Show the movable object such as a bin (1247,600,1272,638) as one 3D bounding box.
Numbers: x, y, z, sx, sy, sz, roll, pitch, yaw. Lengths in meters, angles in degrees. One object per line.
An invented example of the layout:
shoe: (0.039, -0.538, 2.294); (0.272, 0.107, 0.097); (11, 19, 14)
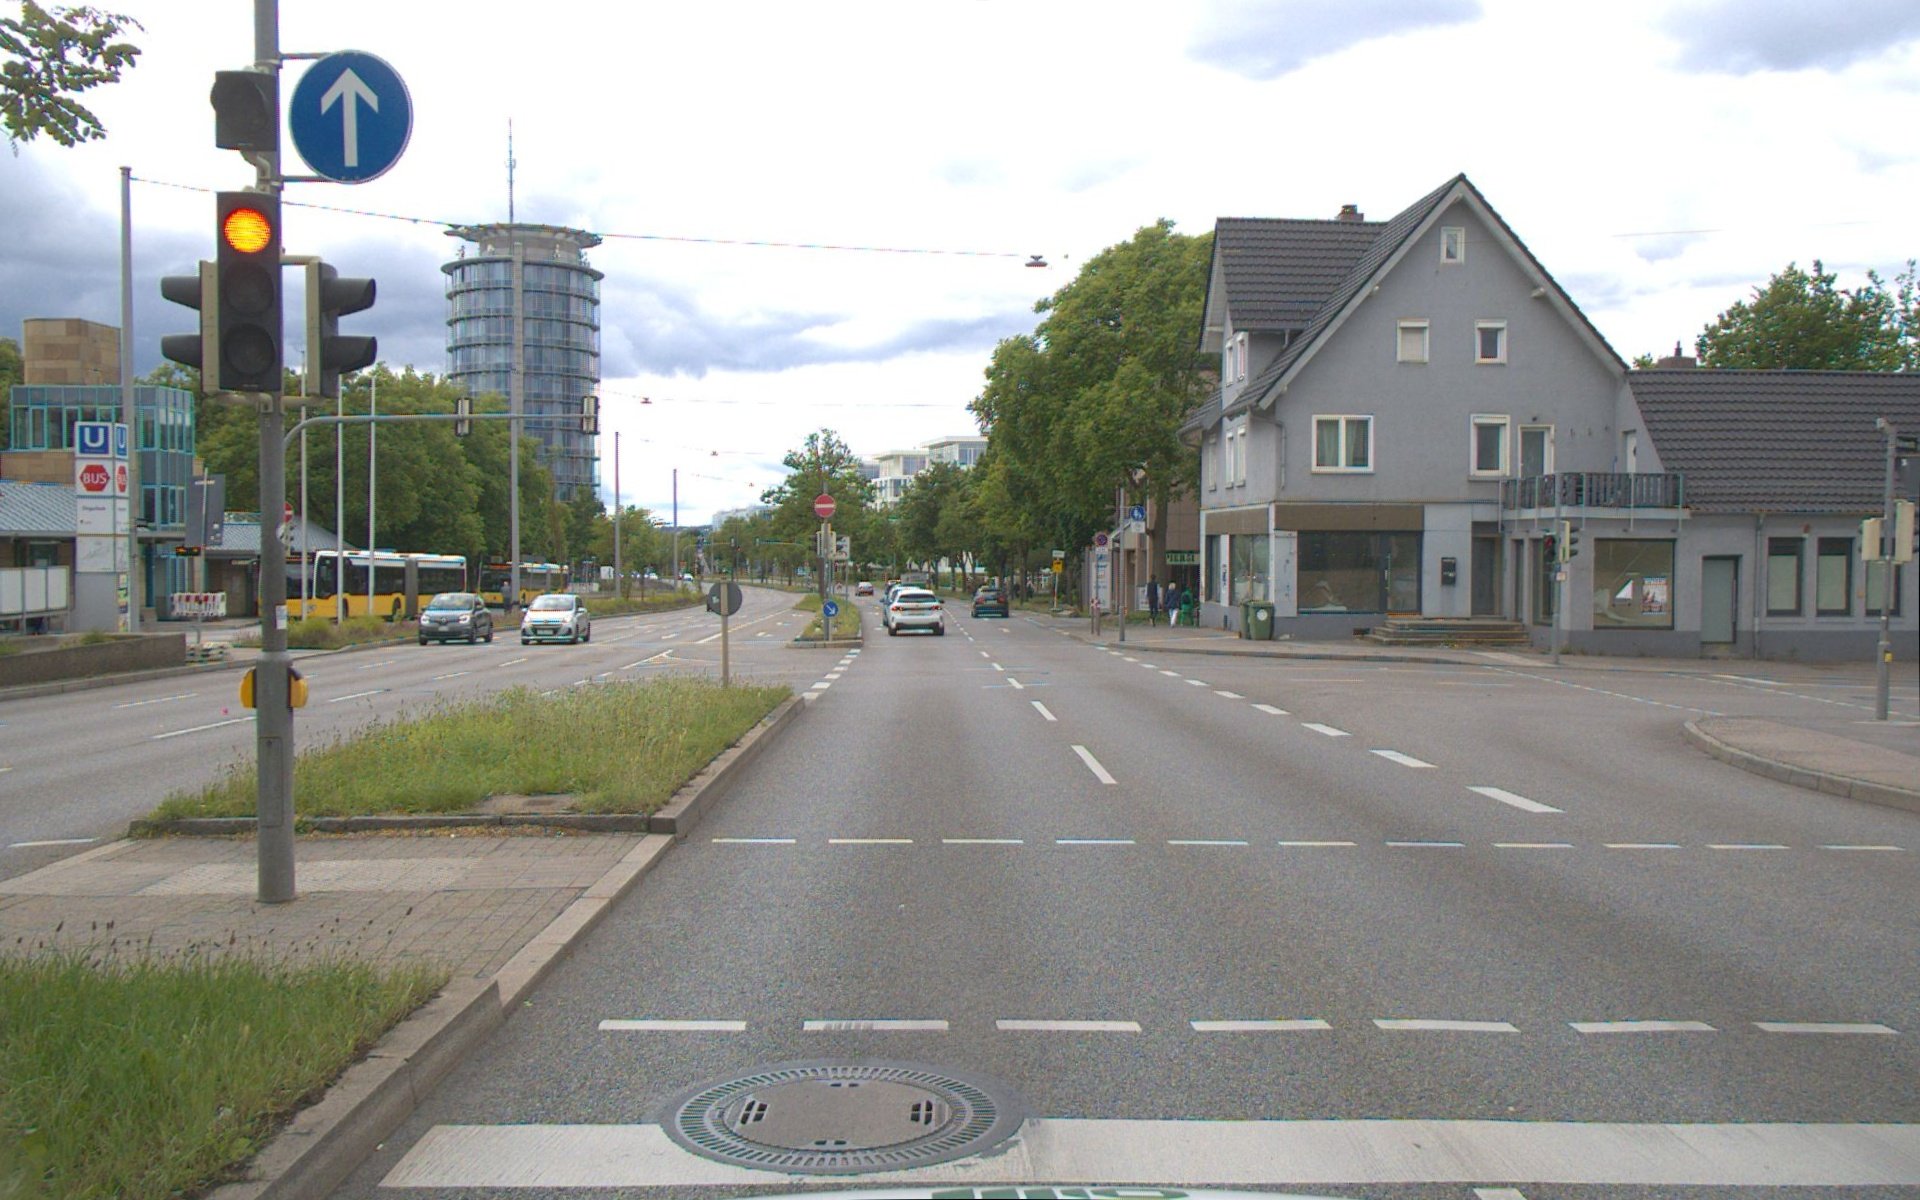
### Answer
movable object such as a bin: (7.998, 0.495, 44.158); (0.518, 0.997, 0.736); (0, 0, -1)

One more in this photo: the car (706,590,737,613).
car: (-16.076, 0.066, 111.657); (1.668, 1.518, 3.561); (-1, 0, -2)

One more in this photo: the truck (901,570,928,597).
truck: (-4.344, -1.544, 156.422); (2.207, 2.459, 4.927); (0, 0, -5)

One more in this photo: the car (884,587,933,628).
car: (-2.024, 0.296, 66.018); (1.785, 1.567, 4.114); (0, 0, 1)

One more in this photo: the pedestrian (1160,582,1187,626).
pedestrian: (7.423, 0.137, 57.439); (0.691, 1.533, 0.870); (-1, 0, 24)

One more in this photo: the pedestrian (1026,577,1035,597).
pedestrian: (5.617, -1.020, 131.760); (0.638, 1.597, 0.669); (0, 0, -9)

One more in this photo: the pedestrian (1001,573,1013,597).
pedestrian: (4.023, -1.321, 142.655); (0.951, 2.049, 0.981); (1, -1, -2)

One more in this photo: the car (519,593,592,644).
car: (-12.364, 0.548, 50.722); (1.651, 1.488, 3.552); (0, 0, -5)

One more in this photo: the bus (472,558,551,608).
bus: (-30.782, -1.123, 114.009); (3.082, 3.281, 10.279); (0, 0, -3)

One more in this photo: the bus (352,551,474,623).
bus: (-26.544, -0.616, 80.715); (2.927, 3.327, 7.879); (-1, 0, 3)

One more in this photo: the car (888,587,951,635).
car: (-1.301, 0.339, 54.457); (1.953, 1.503, 4.256); (0, 0, 0)

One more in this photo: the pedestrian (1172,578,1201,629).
pedestrian: (8.212, 0.120, 59.994); (0.853, 1.811, 0.704); (0, 0, -16)

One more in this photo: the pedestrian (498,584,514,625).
pedestrian: (-21.963, 0.214, 79.962); (0.649, 1.930, 0.684); (0, 0, -9)

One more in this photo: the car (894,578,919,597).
car: (-5.398, -1.252, 164.999); (2.207, 1.787, 4.927); (0, 0, -5)

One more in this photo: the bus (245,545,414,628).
bus: (-27.081, -0.563, 71.690); (2.927, 3.307, 10.174); (-1, 0, 3)

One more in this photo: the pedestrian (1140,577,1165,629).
pedestrian: (6.775, 0.095, 58.098); (0.690, 1.811, 0.870); (-1, 0, 19)

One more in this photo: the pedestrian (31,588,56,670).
pedestrian: (-18.354, 0.581, 33.117); (0.414, 1.619, 0.353); (0, 0, -30)

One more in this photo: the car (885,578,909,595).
car: (-6.598, -1.400, 173.777); (2.207, 1.676, 4.927); (0, 0, -6)

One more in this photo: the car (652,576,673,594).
car: (-35.902, -1.841, 199.739); (1.925, 2.049, 3.999); (1, 0, -1)

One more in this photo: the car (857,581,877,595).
car: (-9.716, -1.270, 173.020); (1.929, 1.444, 4.017); (0, 0, -6)

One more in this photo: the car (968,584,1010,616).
car: (1.396, 0.027, 81.374); (1.851, 1.521, 4.097); (-1, -1, -2)

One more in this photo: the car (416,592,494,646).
car: (-15.472, 0.563, 50.810); (1.652, 1.606, 3.344); (0, 0, -6)

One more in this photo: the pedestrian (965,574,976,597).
pedestrian: (1.052, -1.452, 170.334); (0.914, 2.349, 1.008); (1, -1, -10)

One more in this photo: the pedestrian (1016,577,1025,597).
pedestrian: (4.809, -1.013, 131.773); (0.638, 1.597, 0.669); (0, 0, -9)

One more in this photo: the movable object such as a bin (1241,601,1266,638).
movable object such as a bin: (7.968, 0.519, 44.948); (0.518, 0.997, 0.736); (0, 0, -1)

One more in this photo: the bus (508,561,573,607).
bus: (-31.144, -1.139, 123.008); (3.081, 3.281, 7.762); (0, 0, -2)
